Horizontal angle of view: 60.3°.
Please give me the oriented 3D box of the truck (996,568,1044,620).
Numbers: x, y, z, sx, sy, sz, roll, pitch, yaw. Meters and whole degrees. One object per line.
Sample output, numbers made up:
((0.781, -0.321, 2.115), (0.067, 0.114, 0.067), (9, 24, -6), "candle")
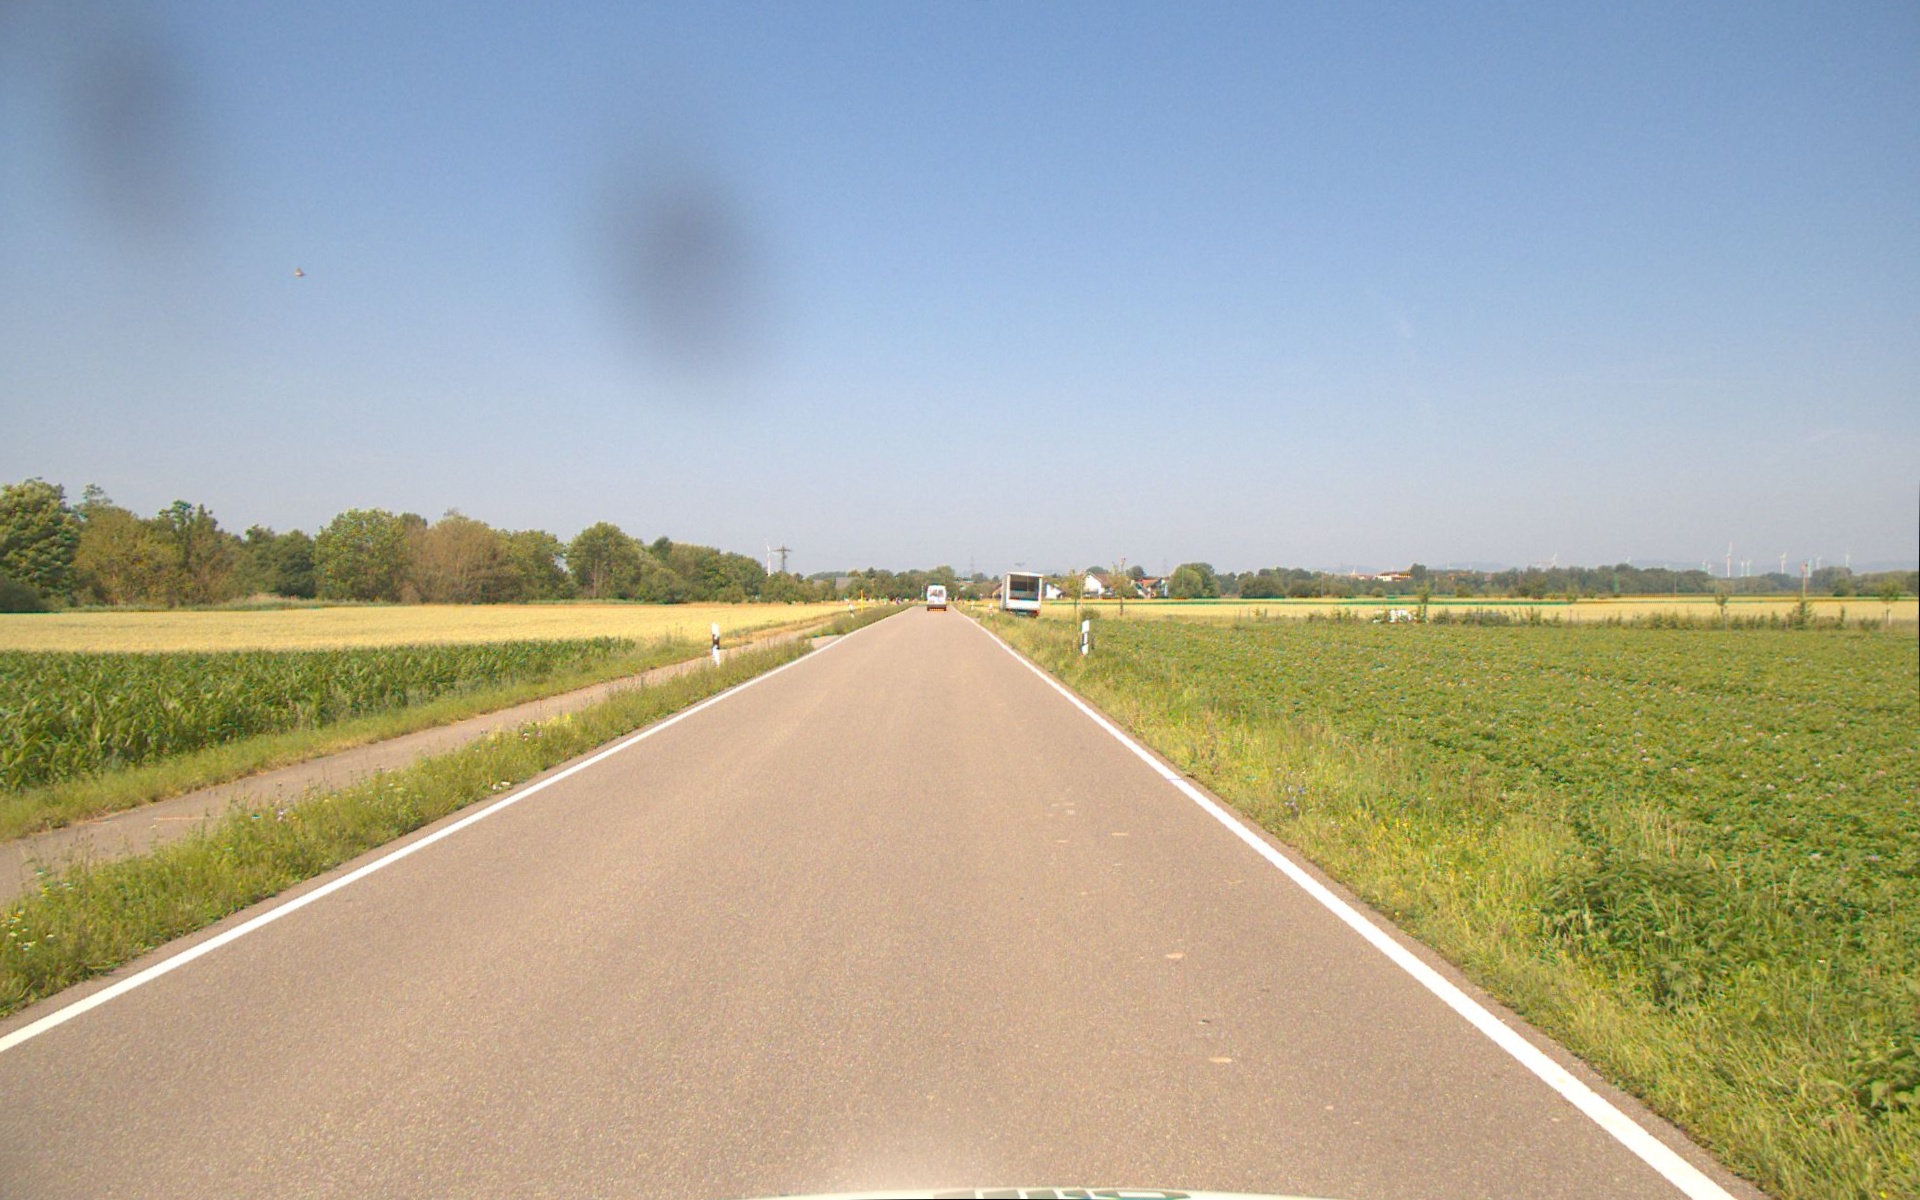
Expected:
((3.651, -0.359, 102.236), (2.289, 2.993, 7.005), (3, 0, -3), "truck")

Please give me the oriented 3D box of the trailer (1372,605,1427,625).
((30.092, 1.034, 113.397), (3.509, 1.210, 1.665), (2, 0, 11), "trailer")

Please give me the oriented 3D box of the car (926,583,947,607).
((-2.399, -0.470, 166.694), (2.064, 2.344, 5.494), (2, 0, -1), "car")
